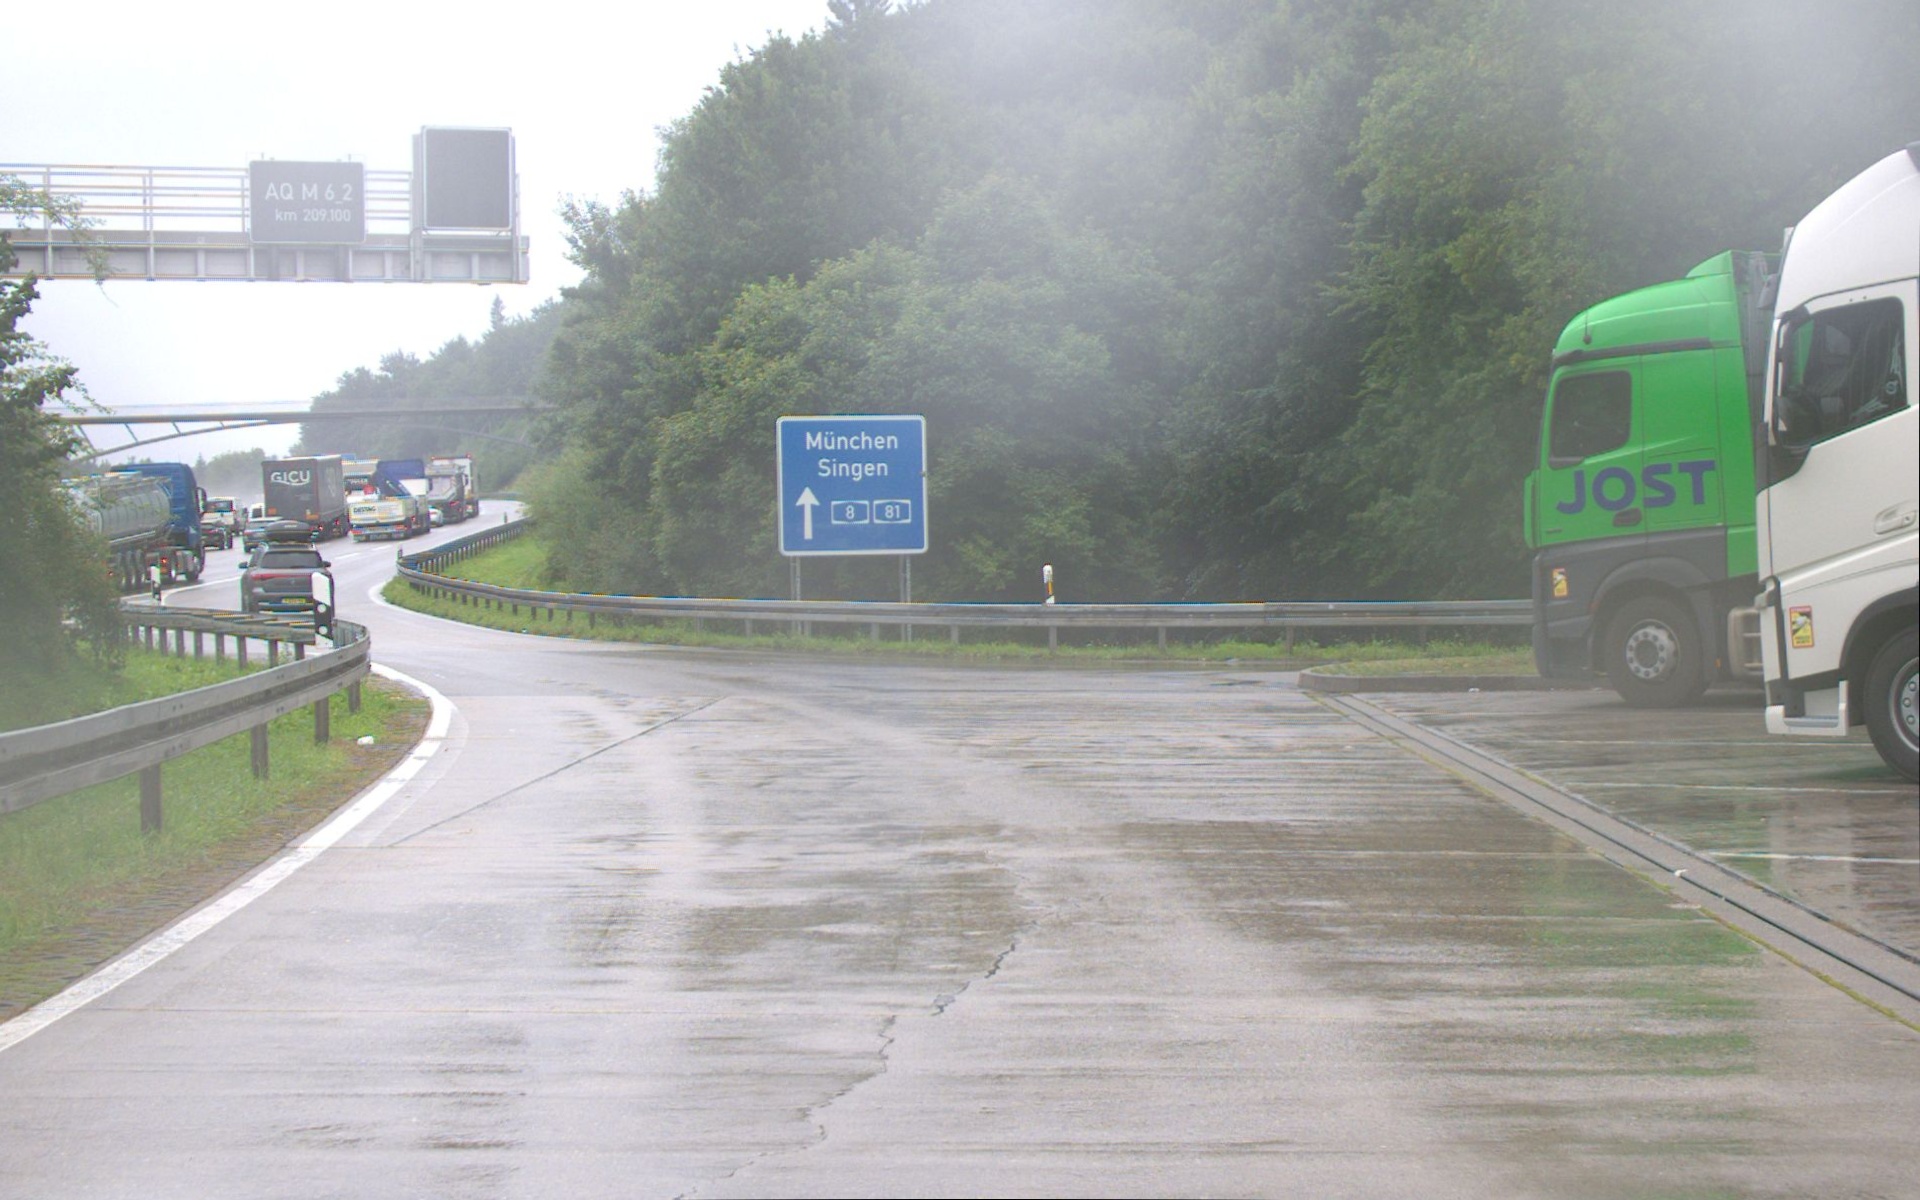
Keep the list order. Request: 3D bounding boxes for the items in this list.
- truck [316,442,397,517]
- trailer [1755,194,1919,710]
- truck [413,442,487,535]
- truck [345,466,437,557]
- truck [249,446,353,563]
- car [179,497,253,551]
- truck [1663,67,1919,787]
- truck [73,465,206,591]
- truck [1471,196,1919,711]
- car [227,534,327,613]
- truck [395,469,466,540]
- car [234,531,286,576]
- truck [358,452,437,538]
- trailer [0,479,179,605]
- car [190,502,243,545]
[{"bbox_3d":[-35.703,-7.070,203.776,3.576,4.081,10.881,-2,1,-4],"label":"truck"},{"bbox_3d":[12.609,-1.336,24.676,2.819,4.135,13.958,-3,1,-45],"label":"trailer"},{"bbox_3d":[-33.330,-7.233,225.107,4.335,5.744,9.733,1,0,-7],"label":"truck"},{"bbox_3d":[-27.376,-4.348,165.890,3.599,4.090,11.563,-2,2,-6],"label":"truck"},{"bbox_3d":[-32.081,-4.569,167.718,3.754,5.480,10.174,1,0,-4],"label":"truck"},{"bbox_3d":[-43.249,-4.392,199.995,3.246,2.992,6.774,1,0,-5],"label":"car"},{"bbox_3d":[7.207,-1.054,20.034,2.819,4.131,5.300,-3,1,-43],"label":"truck"},{"bbox_3d":[-25.359,-2.274,106.520,2.877,3.680,5.057,-2,2,-1],"label":"truck"},{"bbox_3d":[7.751,-1.197,29.624,2.819,4.135,5.994,-3,1,-45],"label":"truck"},{"bbox_3d":[-14.904,-0.587,74.845,1.993,1.630,4.001,1,0,-13],"label":"car"},{"bbox_3d":[-31.707,-5.661,206.275,3.754,3.957,11.062,1,0,-7],"label":"truck"},{"bbox_3d":[-30.338,-2.030,149.120,1.797,1.897,4.001,1,1,-6],"label":"car"},{"bbox_3d":[-29.688,-5.497,181.817,3.506,4.253,10.605,1,0,-6],"label":"truck"},{"bbox_3d":[-25.138,-1.775,99.606,2.873,3.277,10.080,-2,3,-2],"label":"trailer"},{"bbox_3d":[-34.348,-3.513,158.927,1.797,1.897,4.001,-2,1,-4],"label":"car"}]
